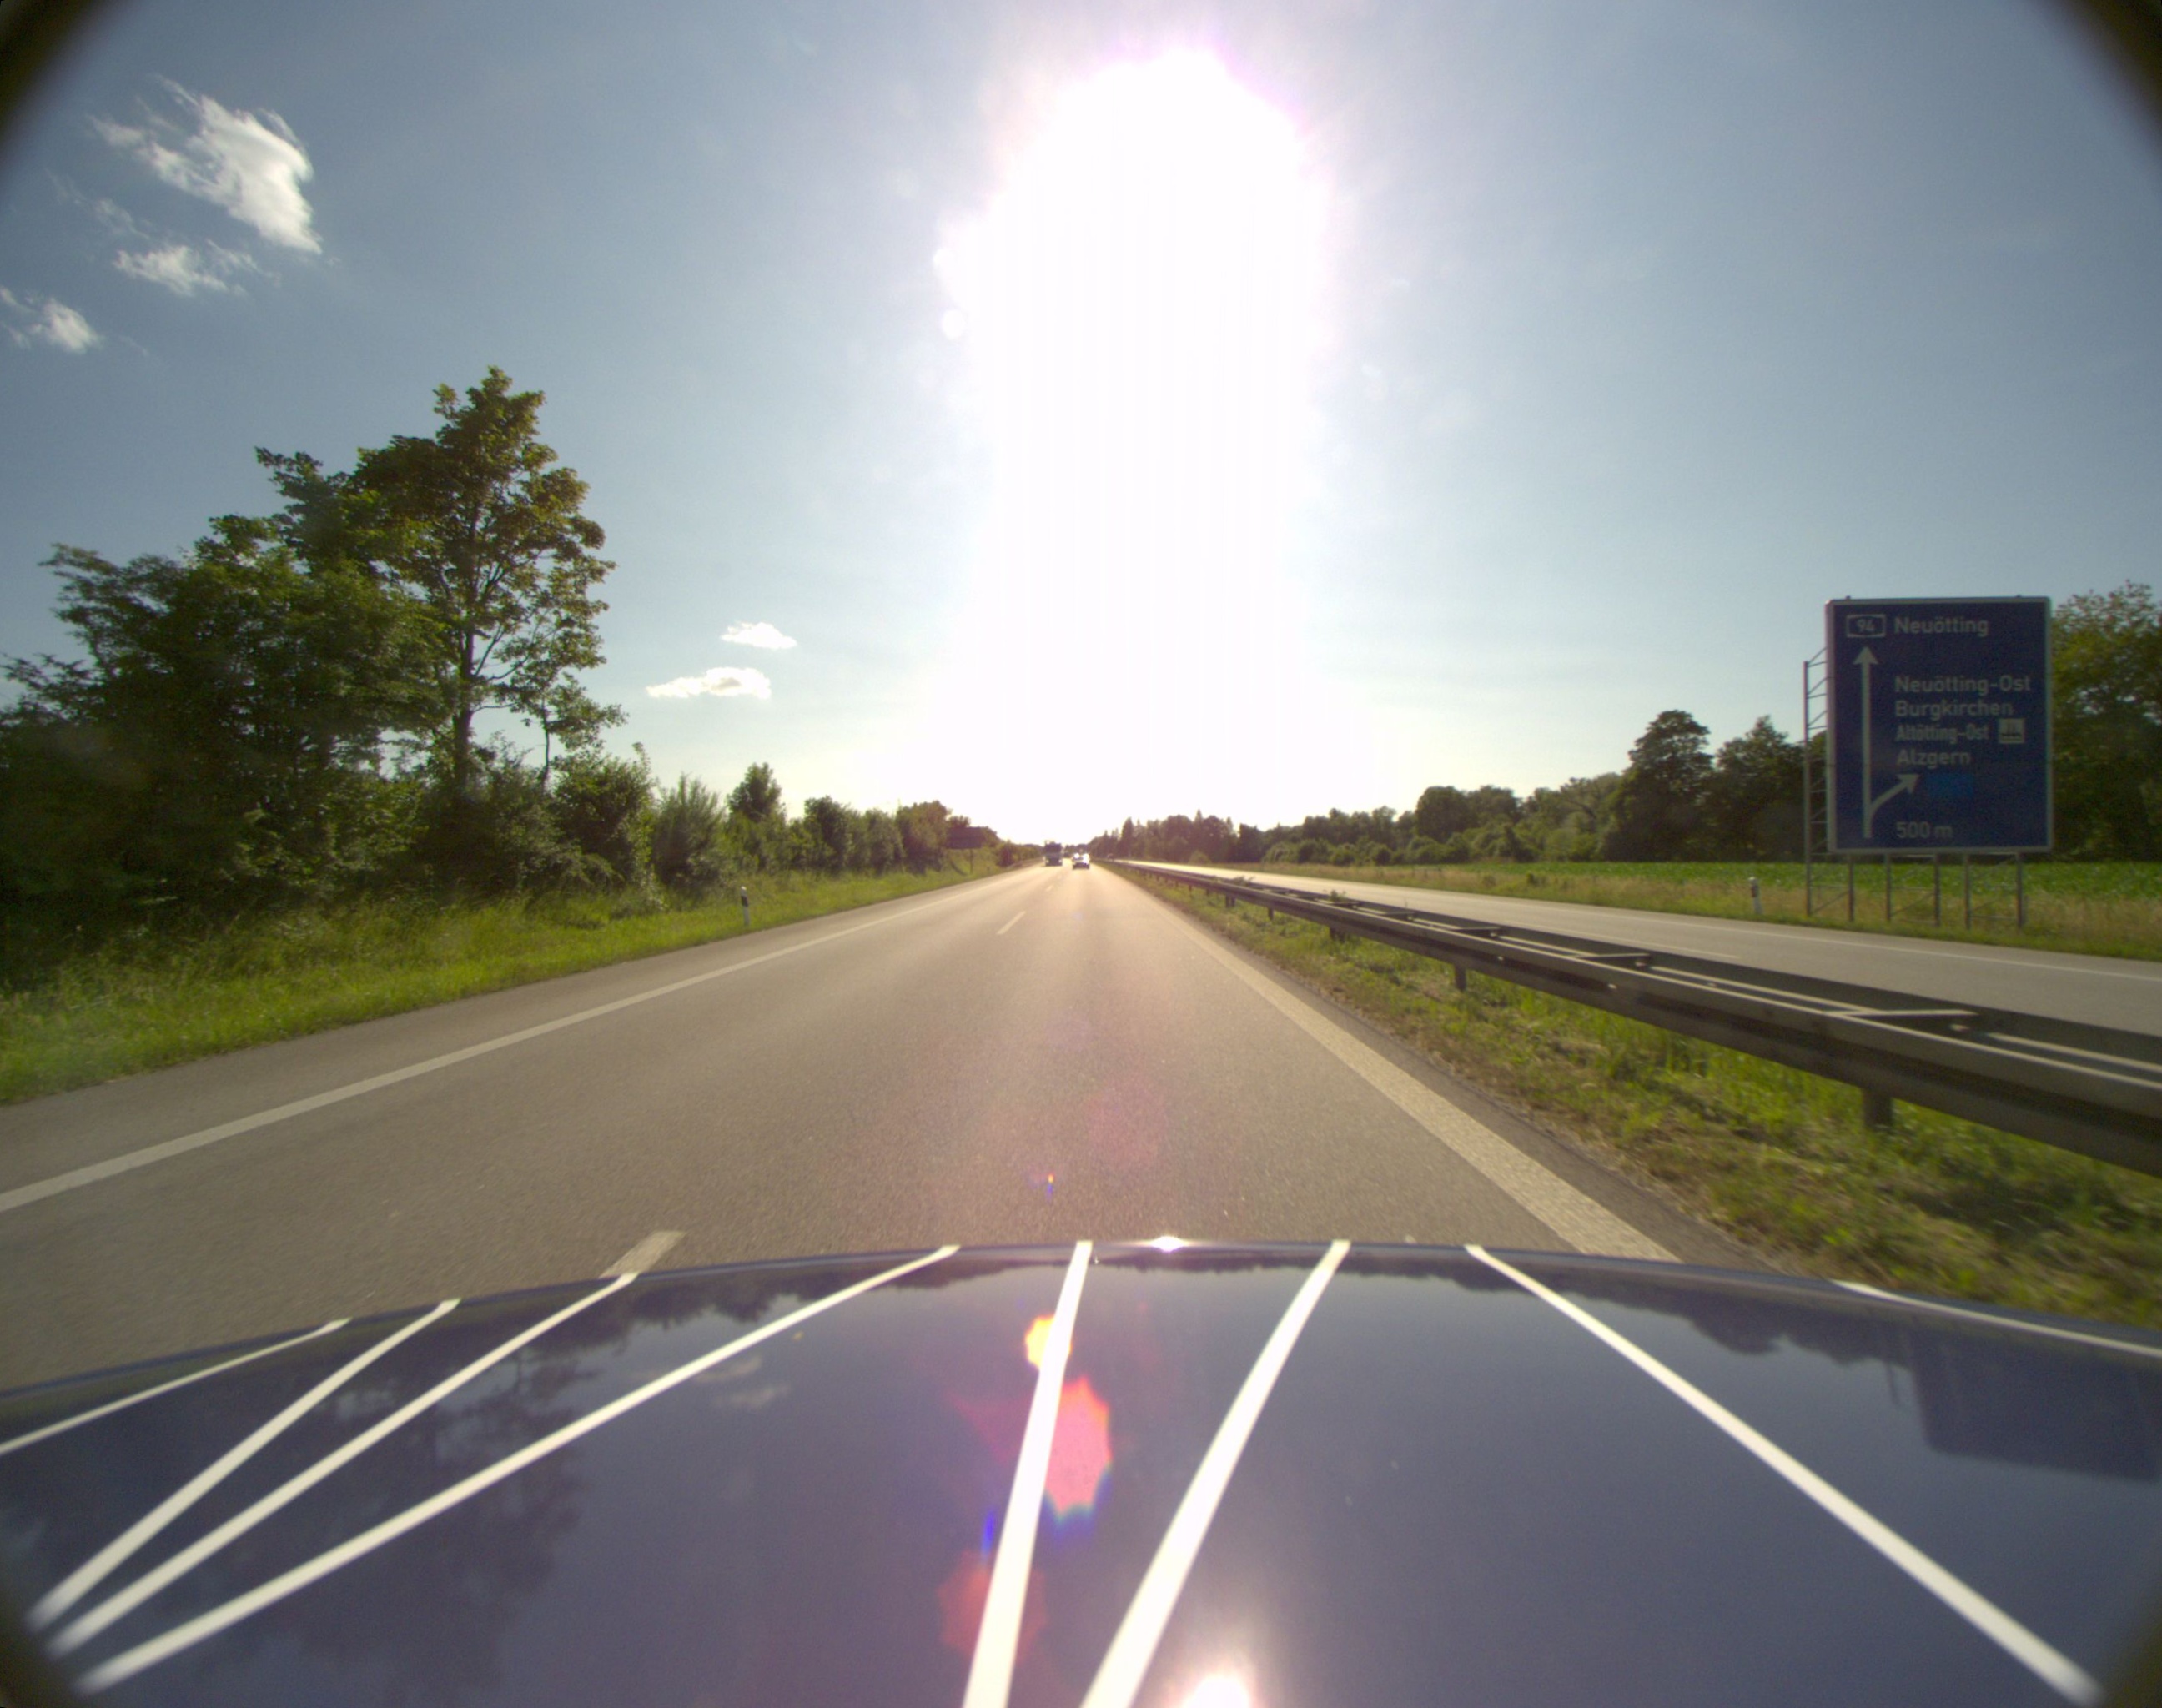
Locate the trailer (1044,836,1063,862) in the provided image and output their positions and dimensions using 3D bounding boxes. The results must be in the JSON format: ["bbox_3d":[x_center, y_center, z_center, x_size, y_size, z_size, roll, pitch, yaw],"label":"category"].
[{"bbox_3d":[-4.449,-0.761,122.404,2.826,3.943,14.155,0,0,-3],"label":"trailer"}]

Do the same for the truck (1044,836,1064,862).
[{"bbox_3d":[-4.113,-0.724,115.596,2.848,3.943,7.041,0,0,-3],"label":"truck"}]

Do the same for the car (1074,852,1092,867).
[{"bbox_3d":[0.151,0.583,81.605,1.871,1.514,4.283,1,0,-1],"label":"car"}]

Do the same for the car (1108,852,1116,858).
[{"bbox_3d":[8.495,0.242,211.404,1.999,1.652,4.775,1,0,-1],"label":"car"}]

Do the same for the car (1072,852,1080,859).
[{"bbox_3d":[-1.197,0.305,180.697,1.742,1.514,3.999,-1,1,-2],"label":"car"}]
